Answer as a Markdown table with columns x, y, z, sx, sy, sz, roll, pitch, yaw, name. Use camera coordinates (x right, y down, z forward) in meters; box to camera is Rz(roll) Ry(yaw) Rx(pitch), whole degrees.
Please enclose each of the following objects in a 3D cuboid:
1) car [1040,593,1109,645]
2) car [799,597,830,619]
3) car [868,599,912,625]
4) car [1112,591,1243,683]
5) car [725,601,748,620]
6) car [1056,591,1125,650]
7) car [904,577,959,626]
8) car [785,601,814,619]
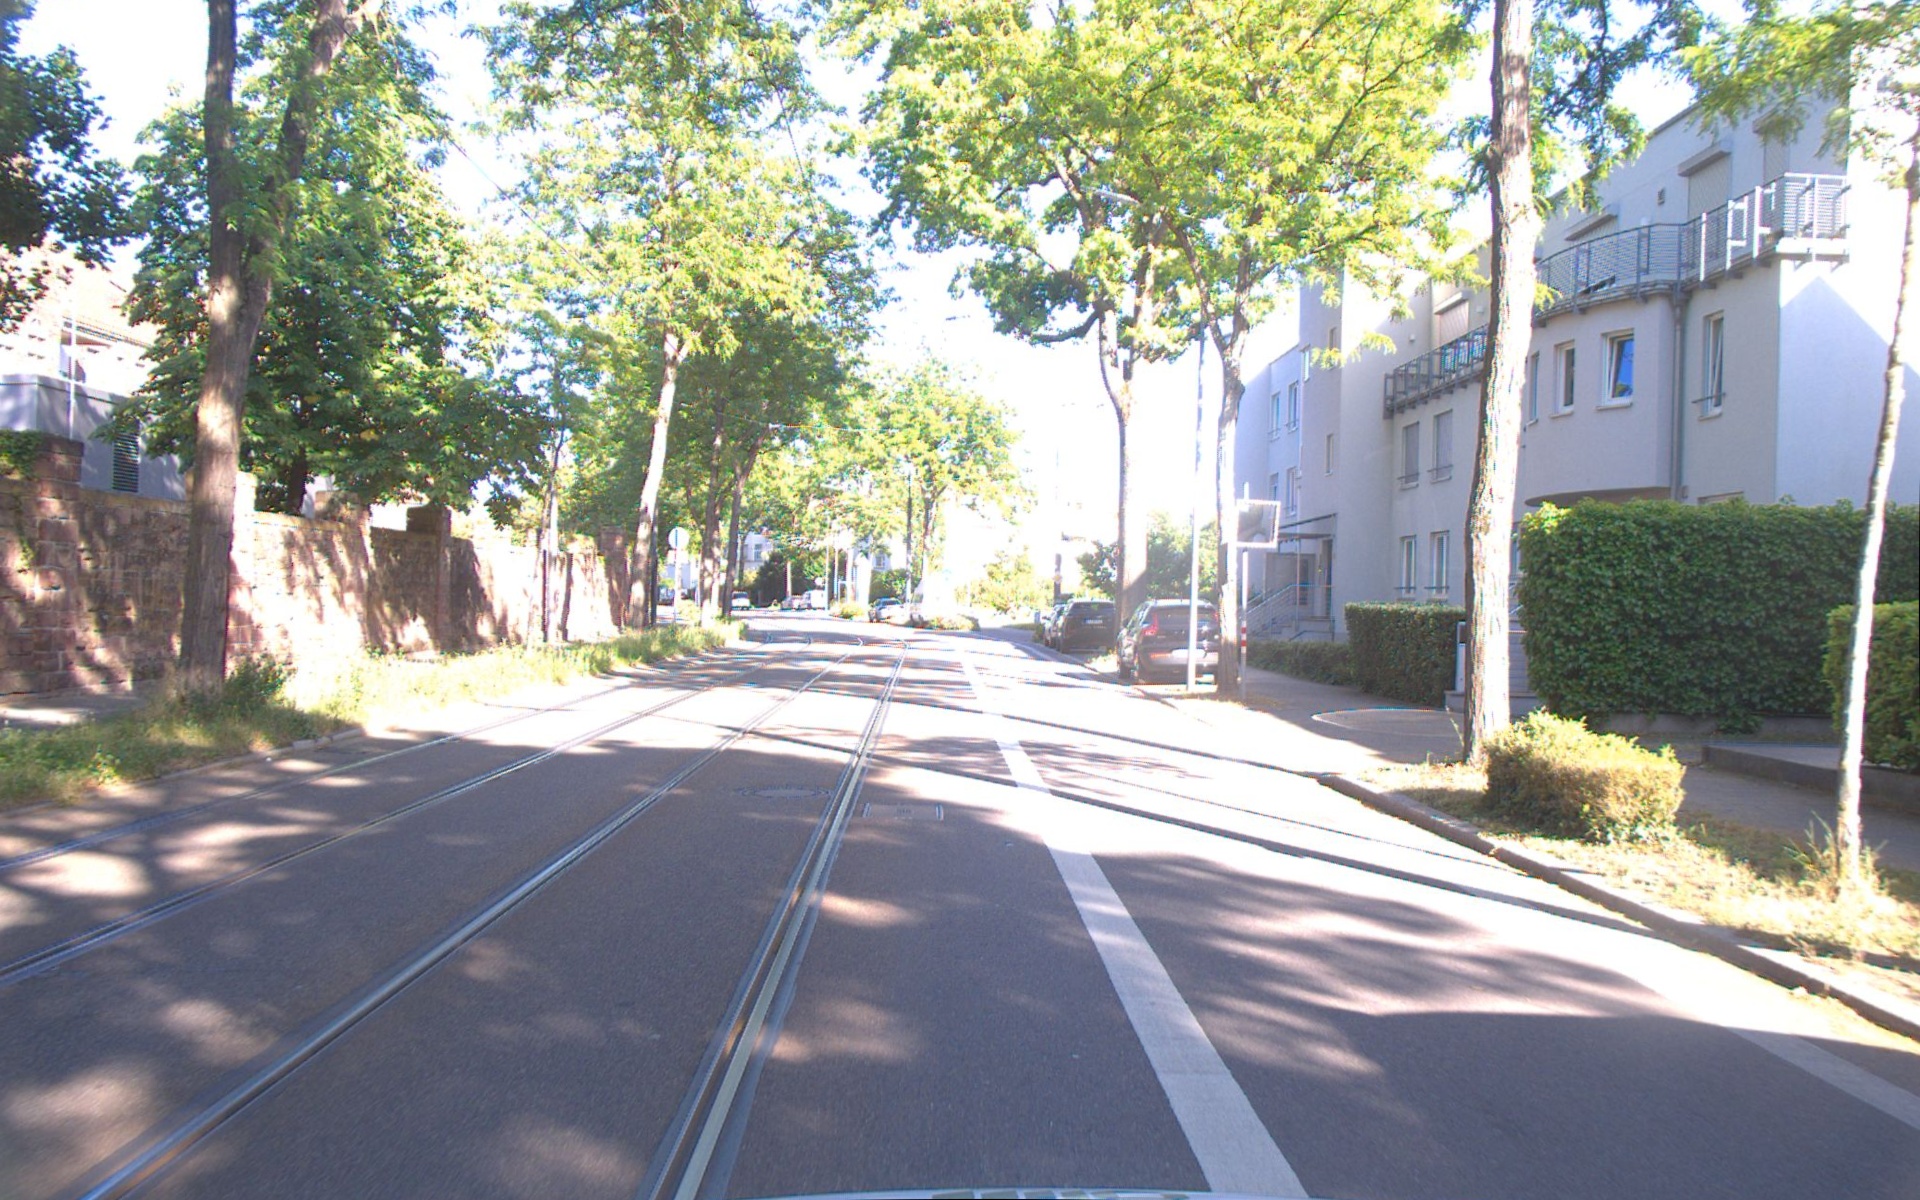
| x | y | z | sx | sy | sz | roll | pitch | yaw | name |
| --- | --- | --- | --- | --- | --- | --- | --- | --- | --- |
| 3.882 | 0.616 | 56.805 | 1.962 | 1.704 | 4.391 | -1 | 0 | -2 | car |
| -13.581 | 0.745 | 154.238 | 1.972 | 1.943 | 4.369 | -1 | 0 | -18 | car |
| -4.465 | 0.727 | 104.580 | 1.968 | 1.588 | 4.377 | 1 | 0 | -13 | car |
| 4.313 | 0.696 | 33.407 | 1.962 | 1.704 | 4.391 | -1 | 0 | -1 | car |
| -20.901 | 0.934 | 154.465 | 1.833 | 1.704 | 4.160 | 1 | 0 | -12 | car |
| 3.965 | 0.602 | 50.809 | 1.961 | 1.704 | 4.394 | -1 | 0 | 3 | car |
| -1.538 | 0.084 | 86.745 | 1.960 | 2.501 | 4.492 | 1 | 0 | -14 | car |
| -15.530 | 0.962 | 160.124 | 1.972 | 1.704 | 4.151 | -1 | 0 | -18 | car |
